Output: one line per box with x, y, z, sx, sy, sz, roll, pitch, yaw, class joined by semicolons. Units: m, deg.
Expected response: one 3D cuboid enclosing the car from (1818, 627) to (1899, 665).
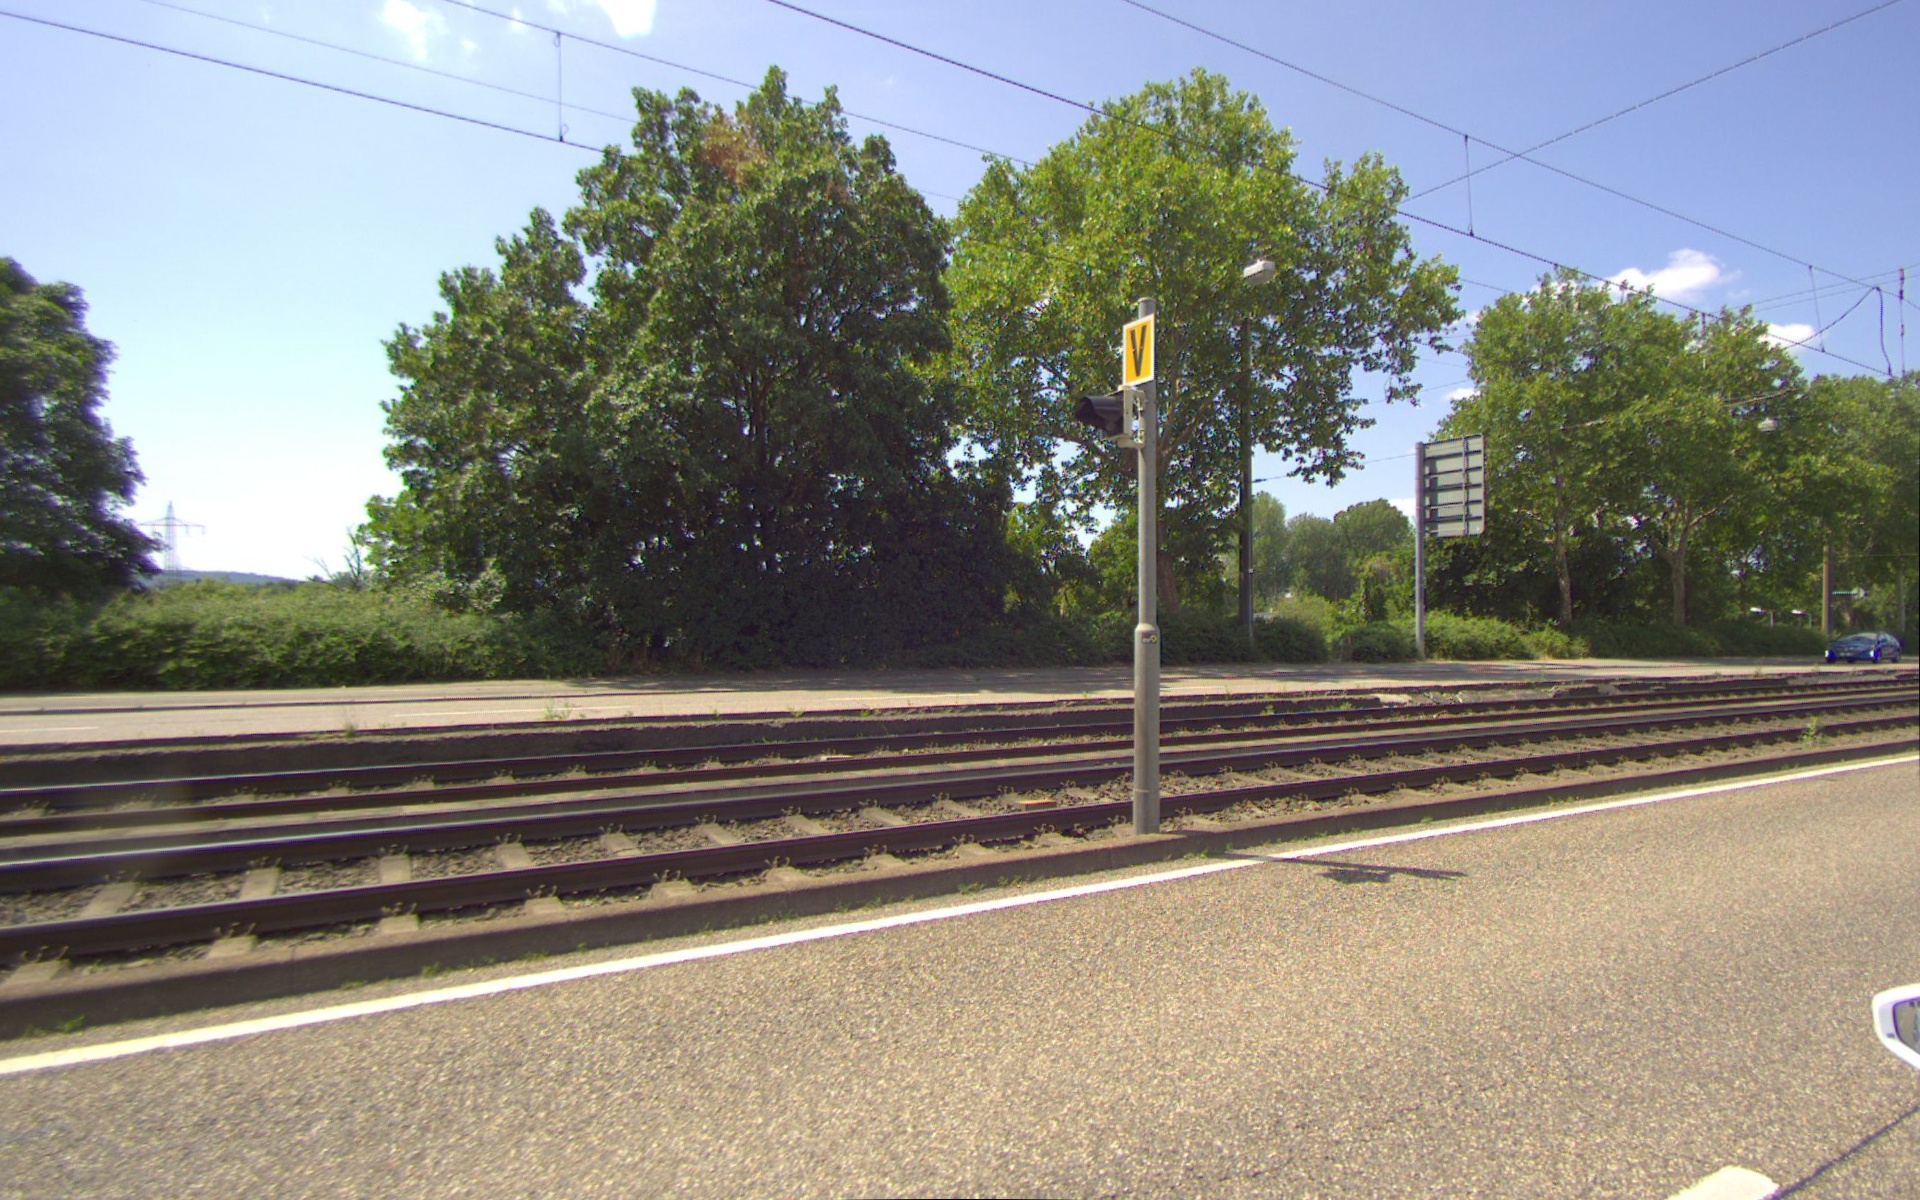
40.085;2.030;44.777;4.171;1.571;1.635;1;0;-33;car
